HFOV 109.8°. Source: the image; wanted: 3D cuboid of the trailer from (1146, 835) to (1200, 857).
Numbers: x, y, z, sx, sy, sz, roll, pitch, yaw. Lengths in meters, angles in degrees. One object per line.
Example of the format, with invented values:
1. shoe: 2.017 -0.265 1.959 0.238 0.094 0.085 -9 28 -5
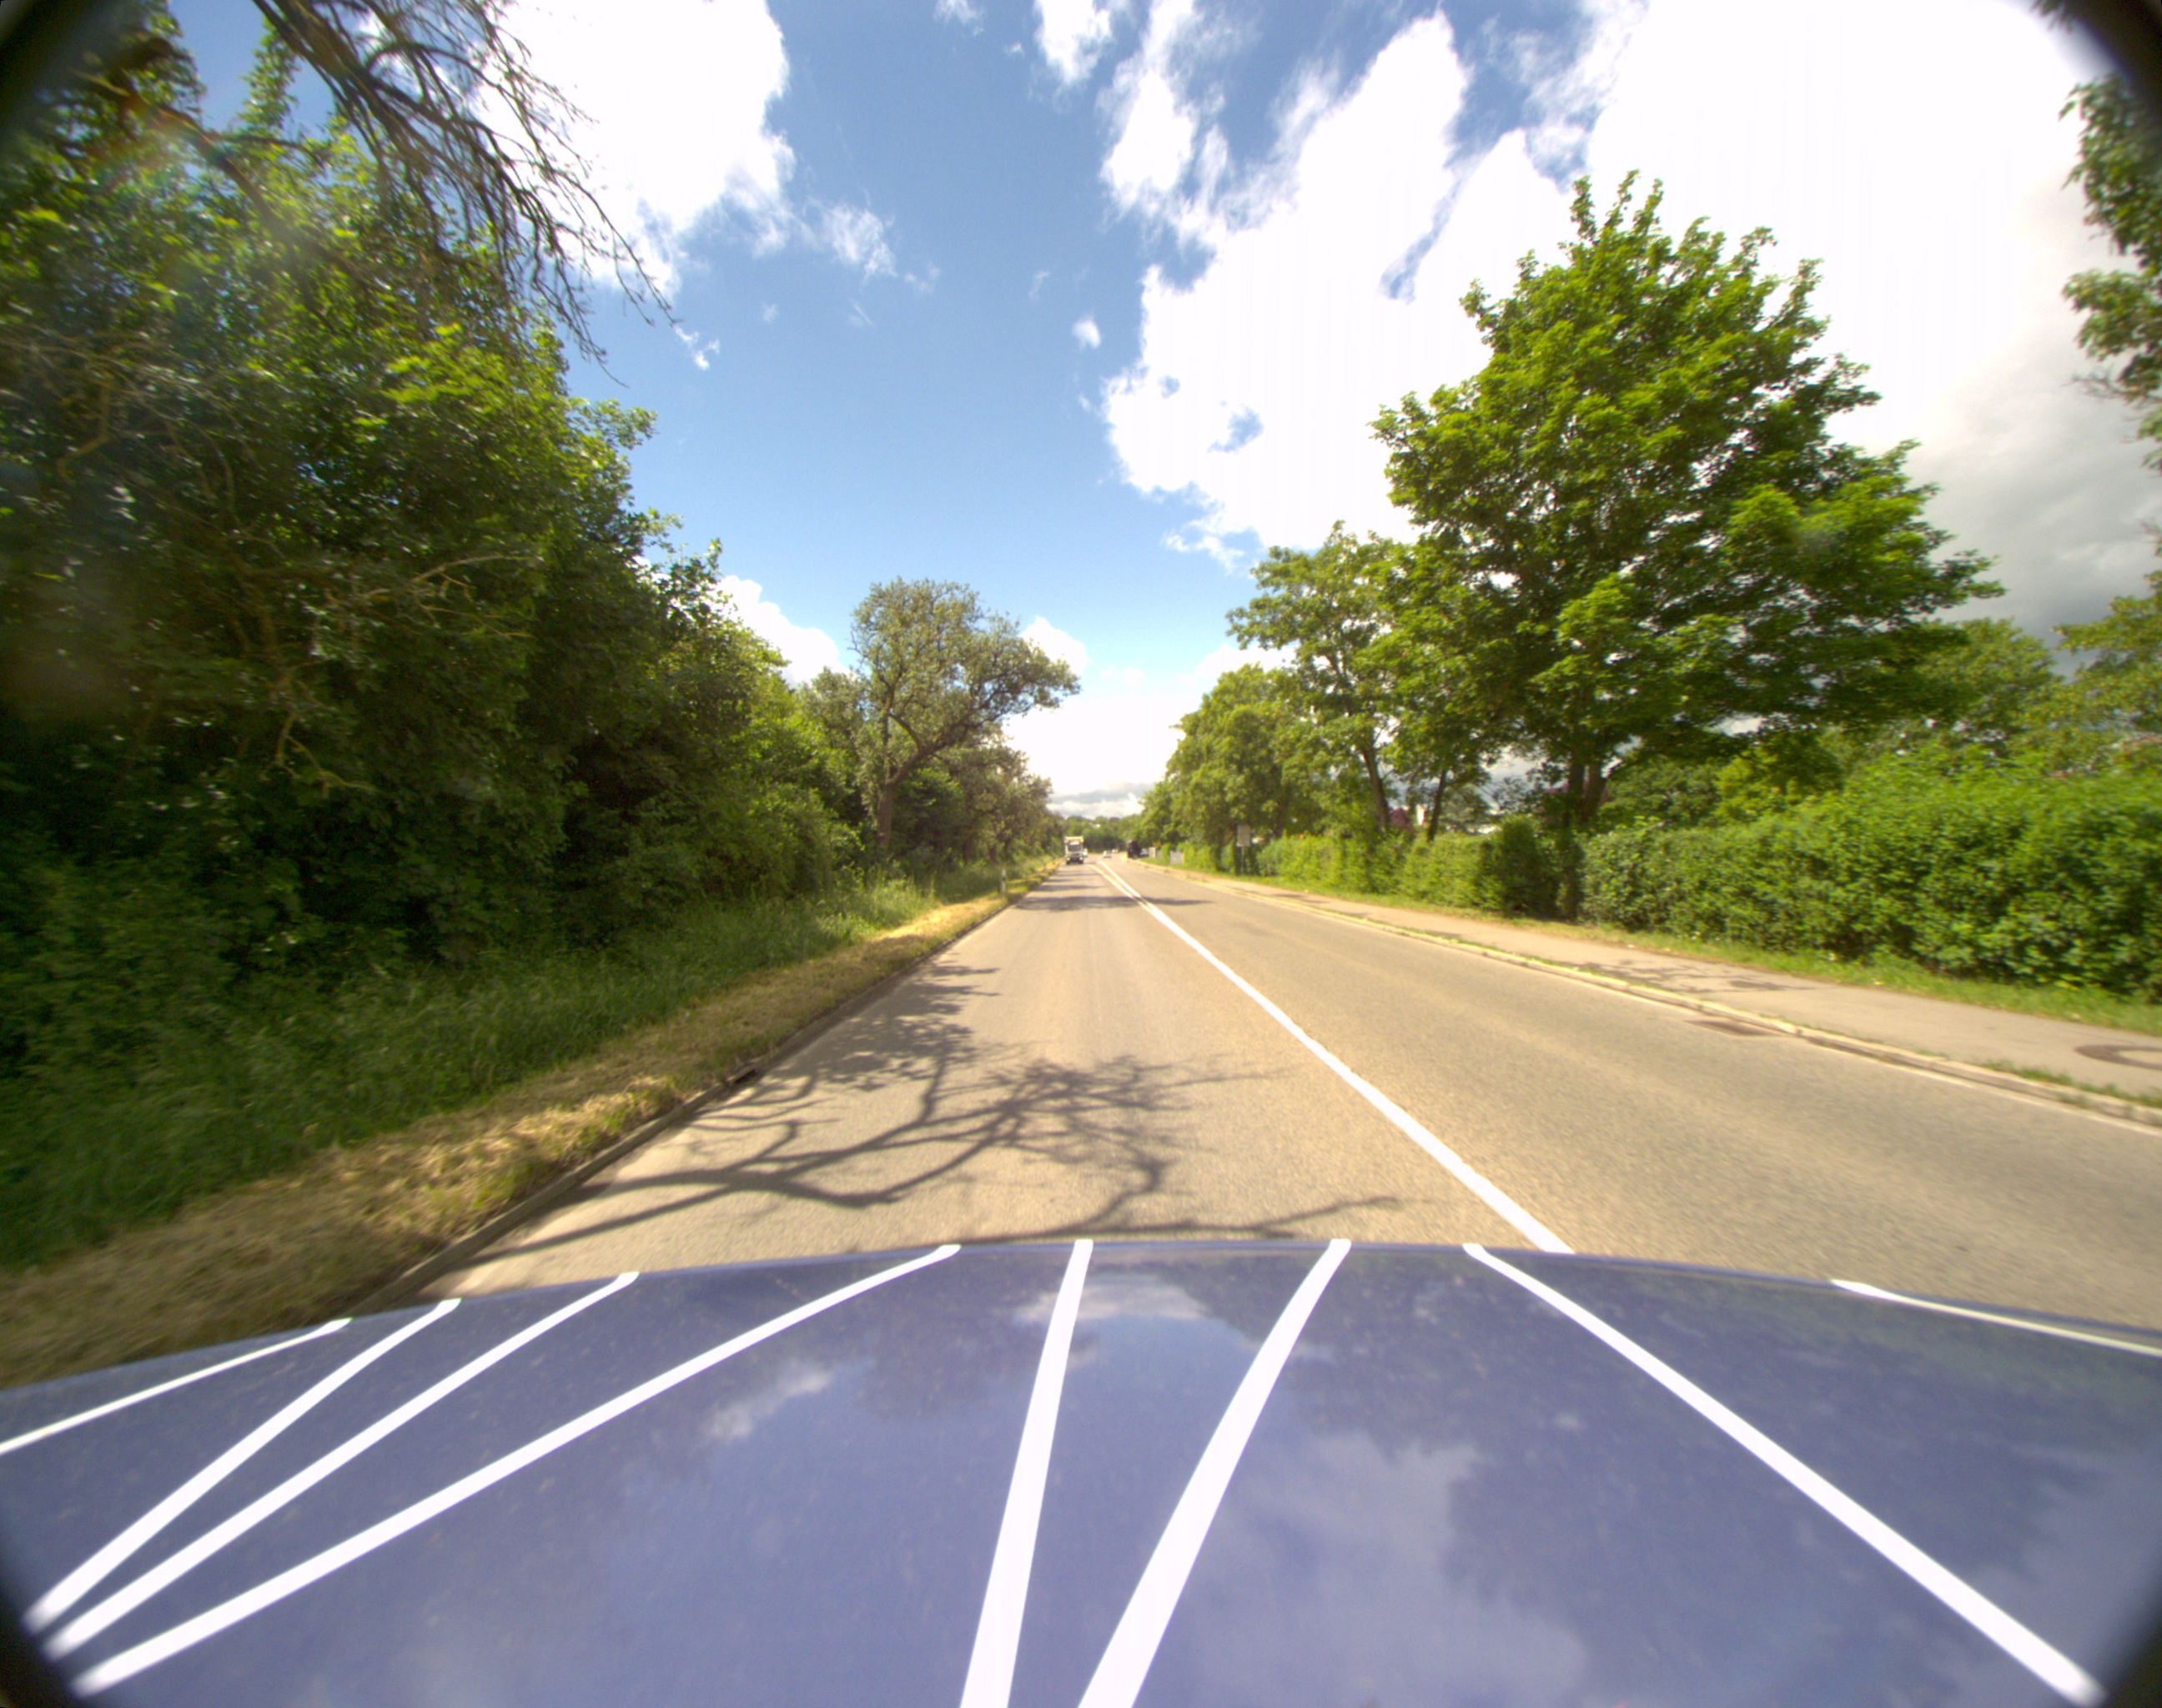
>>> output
1. trailer: 17.120 -1.525 142.035 9.472 4.060 3.315 -1 1 -15

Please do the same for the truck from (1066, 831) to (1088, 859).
1. truck: -0.534 -1.267 108.222 2.905 3.746 9.633 0 1 0

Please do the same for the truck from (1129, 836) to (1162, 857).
1. truck: 11.953 -1.411 140.898 5.570 3.802 2.983 0 1 -4
